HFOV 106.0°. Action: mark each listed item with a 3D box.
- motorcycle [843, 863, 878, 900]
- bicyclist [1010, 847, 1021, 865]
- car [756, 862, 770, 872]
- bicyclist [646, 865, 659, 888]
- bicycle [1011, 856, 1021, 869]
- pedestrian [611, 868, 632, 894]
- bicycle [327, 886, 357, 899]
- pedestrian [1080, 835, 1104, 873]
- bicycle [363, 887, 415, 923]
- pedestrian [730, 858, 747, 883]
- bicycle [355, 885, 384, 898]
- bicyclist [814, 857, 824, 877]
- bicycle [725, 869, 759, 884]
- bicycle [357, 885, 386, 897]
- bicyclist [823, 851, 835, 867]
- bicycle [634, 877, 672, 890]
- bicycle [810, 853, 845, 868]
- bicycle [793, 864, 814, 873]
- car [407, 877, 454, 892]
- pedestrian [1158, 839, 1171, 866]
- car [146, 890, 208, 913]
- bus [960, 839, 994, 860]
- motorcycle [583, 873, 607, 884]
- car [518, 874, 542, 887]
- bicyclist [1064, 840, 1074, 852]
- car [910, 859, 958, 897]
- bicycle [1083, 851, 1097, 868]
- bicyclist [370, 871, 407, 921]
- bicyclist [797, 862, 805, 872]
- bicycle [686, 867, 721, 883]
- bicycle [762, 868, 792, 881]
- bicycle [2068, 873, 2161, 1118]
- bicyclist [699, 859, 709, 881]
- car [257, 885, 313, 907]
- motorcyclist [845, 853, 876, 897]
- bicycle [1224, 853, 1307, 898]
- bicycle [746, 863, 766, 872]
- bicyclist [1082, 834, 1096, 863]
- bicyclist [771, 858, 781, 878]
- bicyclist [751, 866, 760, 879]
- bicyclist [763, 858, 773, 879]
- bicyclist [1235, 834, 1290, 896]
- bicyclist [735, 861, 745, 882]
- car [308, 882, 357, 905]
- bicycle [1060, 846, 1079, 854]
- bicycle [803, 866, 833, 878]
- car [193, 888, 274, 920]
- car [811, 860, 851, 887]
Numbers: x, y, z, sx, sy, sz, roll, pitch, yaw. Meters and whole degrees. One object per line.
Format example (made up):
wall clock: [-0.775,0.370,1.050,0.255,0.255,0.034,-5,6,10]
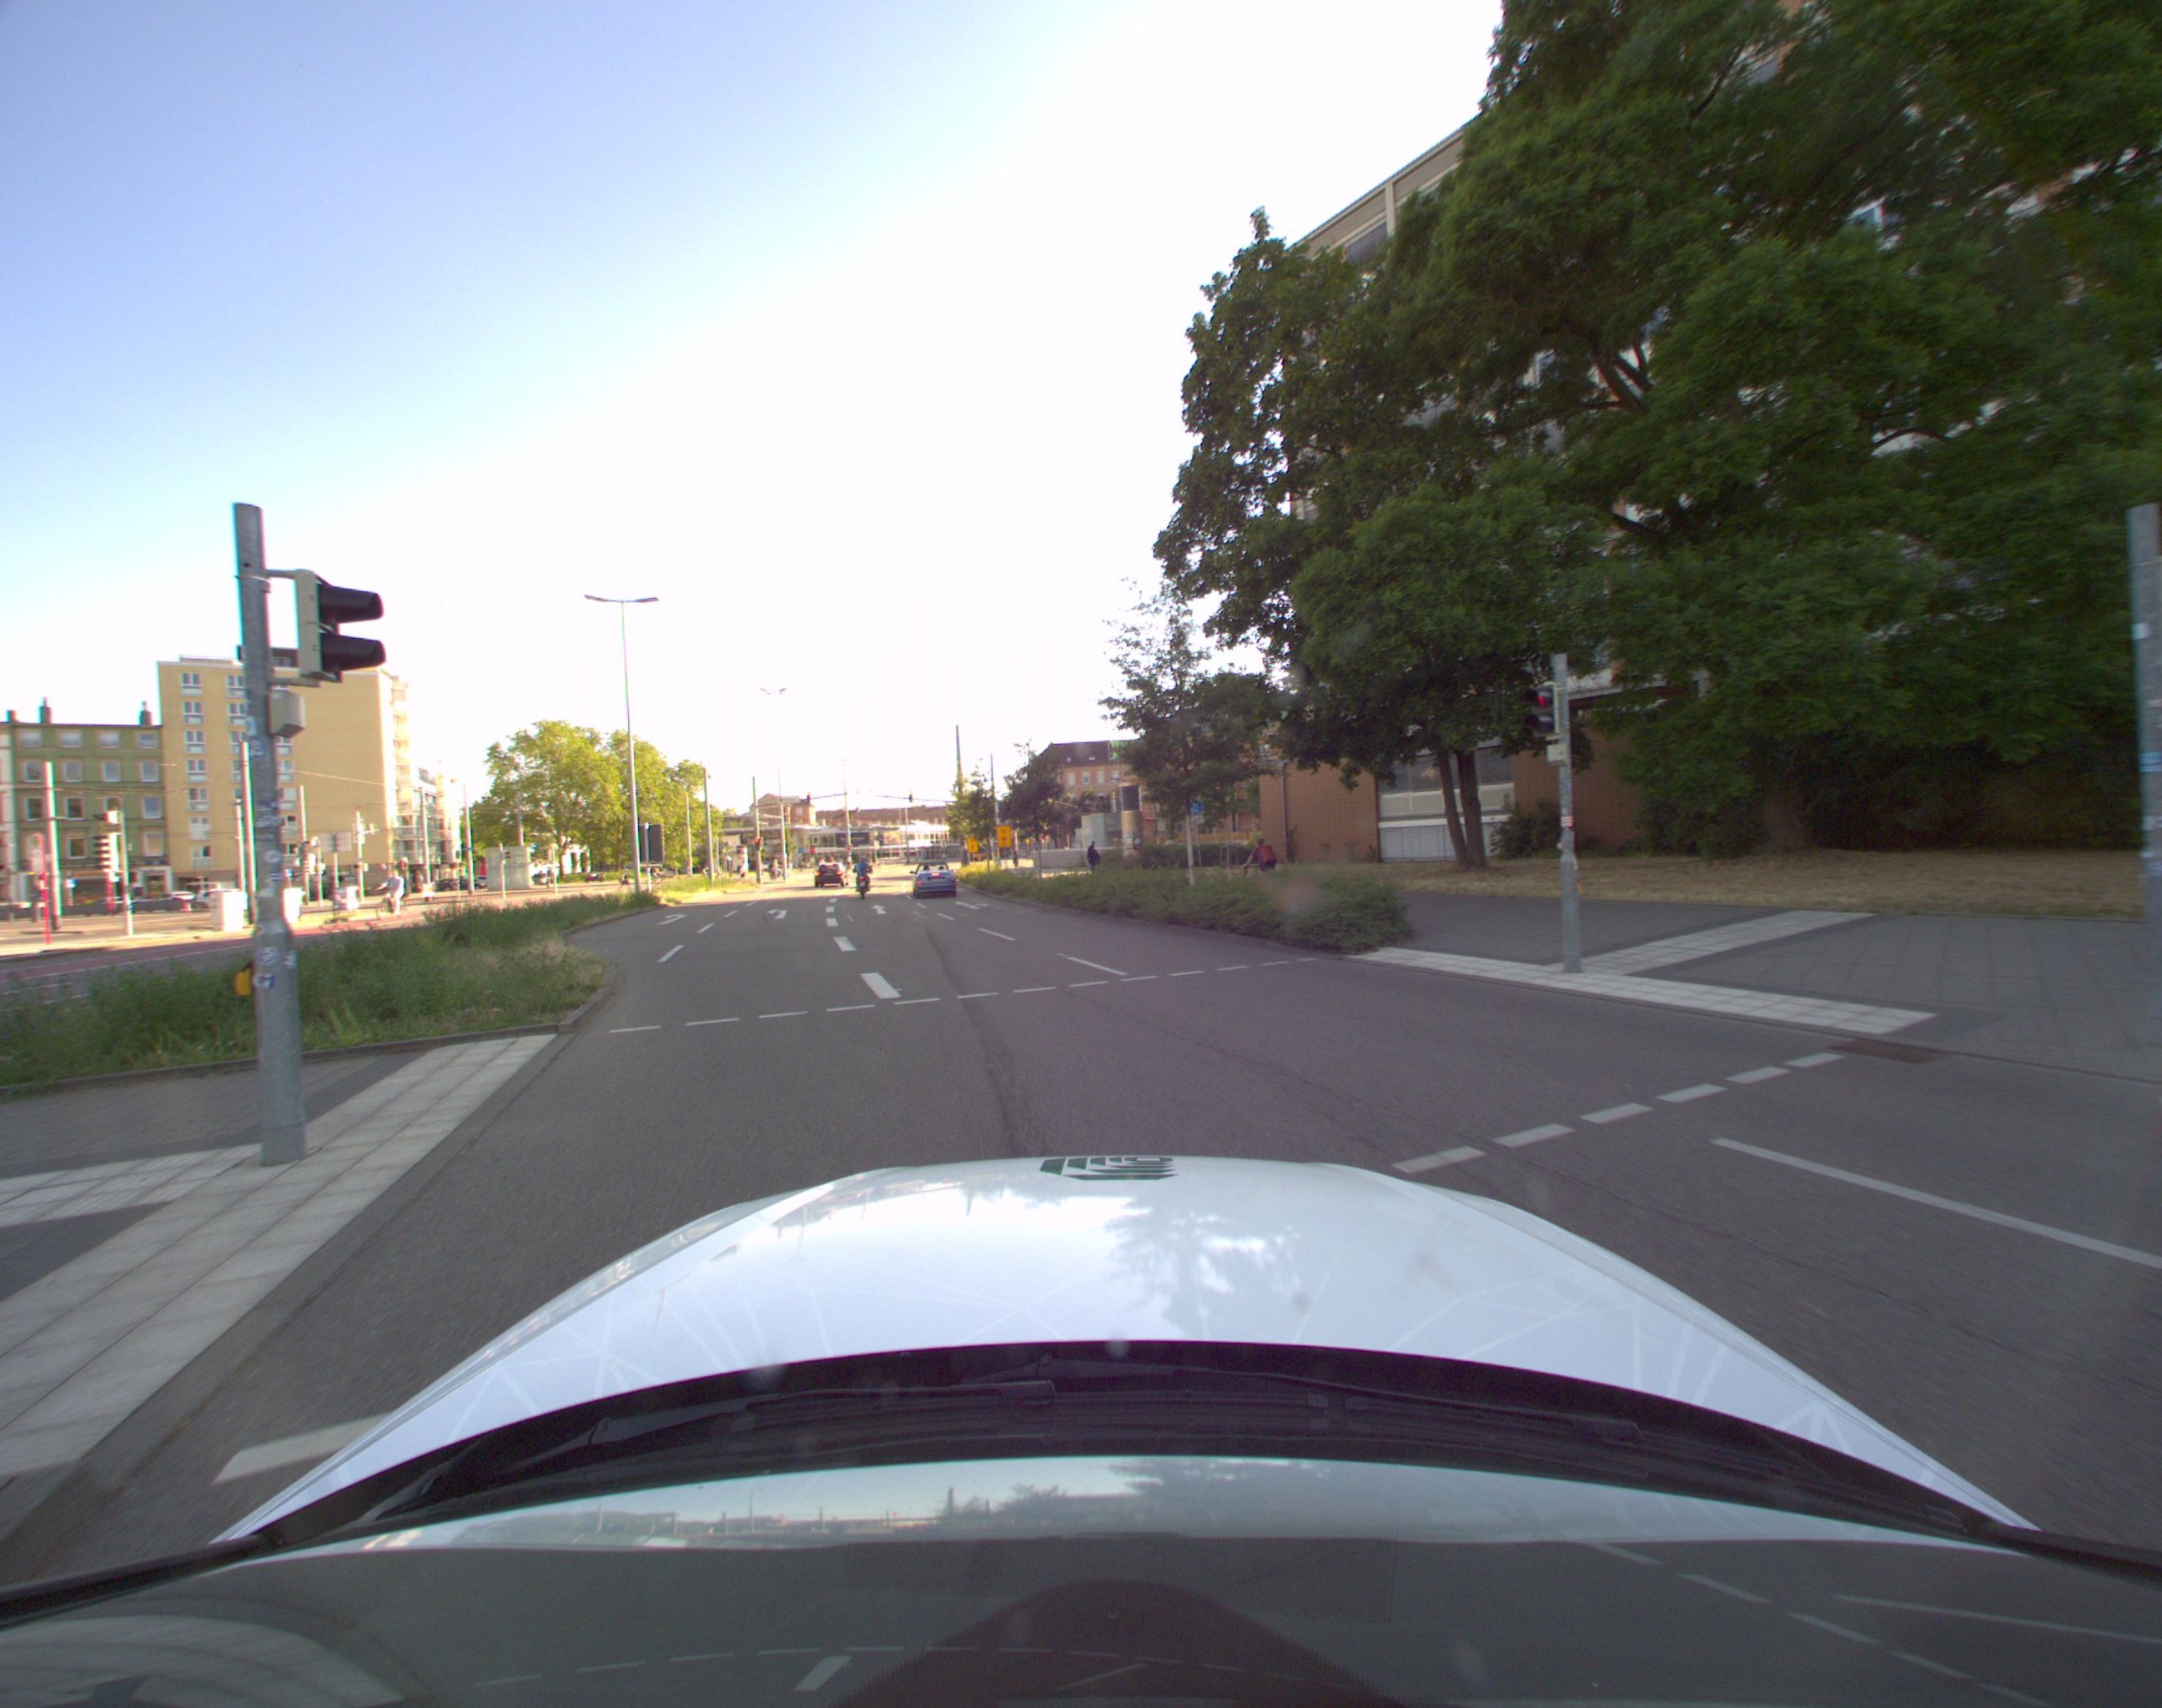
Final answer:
motorcycle: [-9.030,1.103,33.466,1.096,1.377,2.644,-2,0,-9]
bicyclist: [-5.865,0.176,72.837,0.787,1.593,0.946,-5,0,-3]
car: [-55.512,2.189,142.172,1.998,1.534,3.978,-2,2,-16]
bicyclist: [-33.433,1.759,63.523,0.750,1.690,0.851,-3,2,-32]
bicycle: [-5.794,0.756,72.789,0.787,1.039,1.961,-5,0,-2]
pedestrian: [-30.995,1.816,54.943,1.097,1.606,0.694,-2,2,-21]
bicycle: [-73.838,3.844,81.410,2.055,1.090,0.770,-3,0,-30]
pedestrian: [0.500,-0.007,36.931,0.809,1.658,0.785,-3,1,-20]
bicycle: [-26.495,1.935,31.242,0.743,1.255,2.536,-3,0,-23]
pedestrian: [-23.773,1.128,56.539,0.690,1.671,0.834,-3,0,40]
bicycle: [-71.446,3.763,81.819,2.055,1.090,0.770,-3,0,-30]
bicyclist: [-22.459,1.128,69.745,0.652,1.690,0.853,-2,2,-26]
bicycle: [-28.926,1.880,69.488,2.508,1.133,0.852,-3,2,-29]
bicycle: [-71.904,3.751,82.525,2.055,1.090,0.770,-3,0,-30]
bicyclist: [-31.902,0.646,103.080,1.077,1.900,1.112,-3,2,-29]
bicycle: [-33.394,2.286,63.555,2.510,0.874,0.851,-3,2,-32]
bicycle: [-32.056,0.789,102.985,4.011,1.689,1.128,-3,2,-29]
bicycle: [-33.630,1.749,98.854,2.307,0.959,0.853,-4,3,-24]
car: [-75.501,3.519,94.541,4.016,1.422,1.794,-3,0,-33]
pedestrian: [5.081,-0.089,49.311,0.719,1.659,0.720,0,0,8]
car: [-77.044,4.033,69.414,3.963,1.719,2.098,-1,2,20]
bus: [-16.303,-0.744,128.440,2.338,2.882,9.611,-1,2,12]
motorcycle: [-54.510,2.750,91.361,2.295,1.054,0.682,-2,2,-24]
car: [-68.346,3.256,101.107,1.857,1.452,3.965,-3,0,-27]
bicyclist: [-1.656,-1.074,112.385,0.928,1.559,0.955,-3,0,-26]
car: [-6.114,0.962,34.145,1.800,1.444,3.967,-1,0,-8]
bicycle: [0.591,0.372,53.780,0.787,1.039,1.961,-5,0,-2]
bicyclist: [-26.485,1.595,31.166,0.743,1.832,1.006,-3,-1,-23]
bicyclist: [-33.952,1.532,98.708,0.716,1.142,0.831,-2,2,-25]
bicycle: [-30.921,1.713,66.707,2.503,1.133,0.854,-2,2,-23]
bicycle: [-26.015,1.733,69.667,2.311,0.905,0.852,-3,2,-30]
bicycle: [5.687,0.704,3.189,0.776,1.156,2.288,-3,1,-3]
bicyclist: [-30.905,1.319,66.709,0.652,1.690,0.854,-2,2,-22]
car: [-71.022,3.737,72.650,3.955,1.748,1.848,-1,2,18]
motorcyclist: [-9.035,0.851,33.418,1.096,1.721,0.933,-2,0,-10]
bicycle: [4.243,0.499,18.958,0.722,0.952,2.233,-2,-1,-21]
bicycle: [-39.436,1.602,98.851,2.305,0.979,0.854,-2,2,-23]
bicyclist: [0.530,-0.352,53.732,0.785,1.786,0.893,-5,0,-3]
bicyclist: [-26.086,1.213,69.618,0.653,1.690,0.852,-3,2,-30]
bicyclist: [-39.469,2.211,98.847,0.927,1.559,0.854,-2,2,-23]
bicyclist: [-26.674,1.246,69.293,0.586,1.777,0.858,-3,0,-30]
bicyclist: [4.221,0.270,18.996,0.722,1.384,1.068,-2,-1,-22]
bicyclist: [-29.074,1.480,69.410,0.653,1.690,0.852,-3,2,-29]
car: [-68.443,3.593,74.474,3.950,1.857,1.864,-1,2,25]
bicycle: [-1.595,-0.592,112.410,2.451,1.003,0.955,-3,0,-26]
bicycle: [-22.488,1.552,69.736,2.308,0.905,0.853,-3,2,-26]
car: [-64.201,3.784,61.798,3.758,2.013,1.981,-3,2,-30]
car: [-14.901,1.130,48.667,1.801,1.444,3.964,-1,0,-10]
